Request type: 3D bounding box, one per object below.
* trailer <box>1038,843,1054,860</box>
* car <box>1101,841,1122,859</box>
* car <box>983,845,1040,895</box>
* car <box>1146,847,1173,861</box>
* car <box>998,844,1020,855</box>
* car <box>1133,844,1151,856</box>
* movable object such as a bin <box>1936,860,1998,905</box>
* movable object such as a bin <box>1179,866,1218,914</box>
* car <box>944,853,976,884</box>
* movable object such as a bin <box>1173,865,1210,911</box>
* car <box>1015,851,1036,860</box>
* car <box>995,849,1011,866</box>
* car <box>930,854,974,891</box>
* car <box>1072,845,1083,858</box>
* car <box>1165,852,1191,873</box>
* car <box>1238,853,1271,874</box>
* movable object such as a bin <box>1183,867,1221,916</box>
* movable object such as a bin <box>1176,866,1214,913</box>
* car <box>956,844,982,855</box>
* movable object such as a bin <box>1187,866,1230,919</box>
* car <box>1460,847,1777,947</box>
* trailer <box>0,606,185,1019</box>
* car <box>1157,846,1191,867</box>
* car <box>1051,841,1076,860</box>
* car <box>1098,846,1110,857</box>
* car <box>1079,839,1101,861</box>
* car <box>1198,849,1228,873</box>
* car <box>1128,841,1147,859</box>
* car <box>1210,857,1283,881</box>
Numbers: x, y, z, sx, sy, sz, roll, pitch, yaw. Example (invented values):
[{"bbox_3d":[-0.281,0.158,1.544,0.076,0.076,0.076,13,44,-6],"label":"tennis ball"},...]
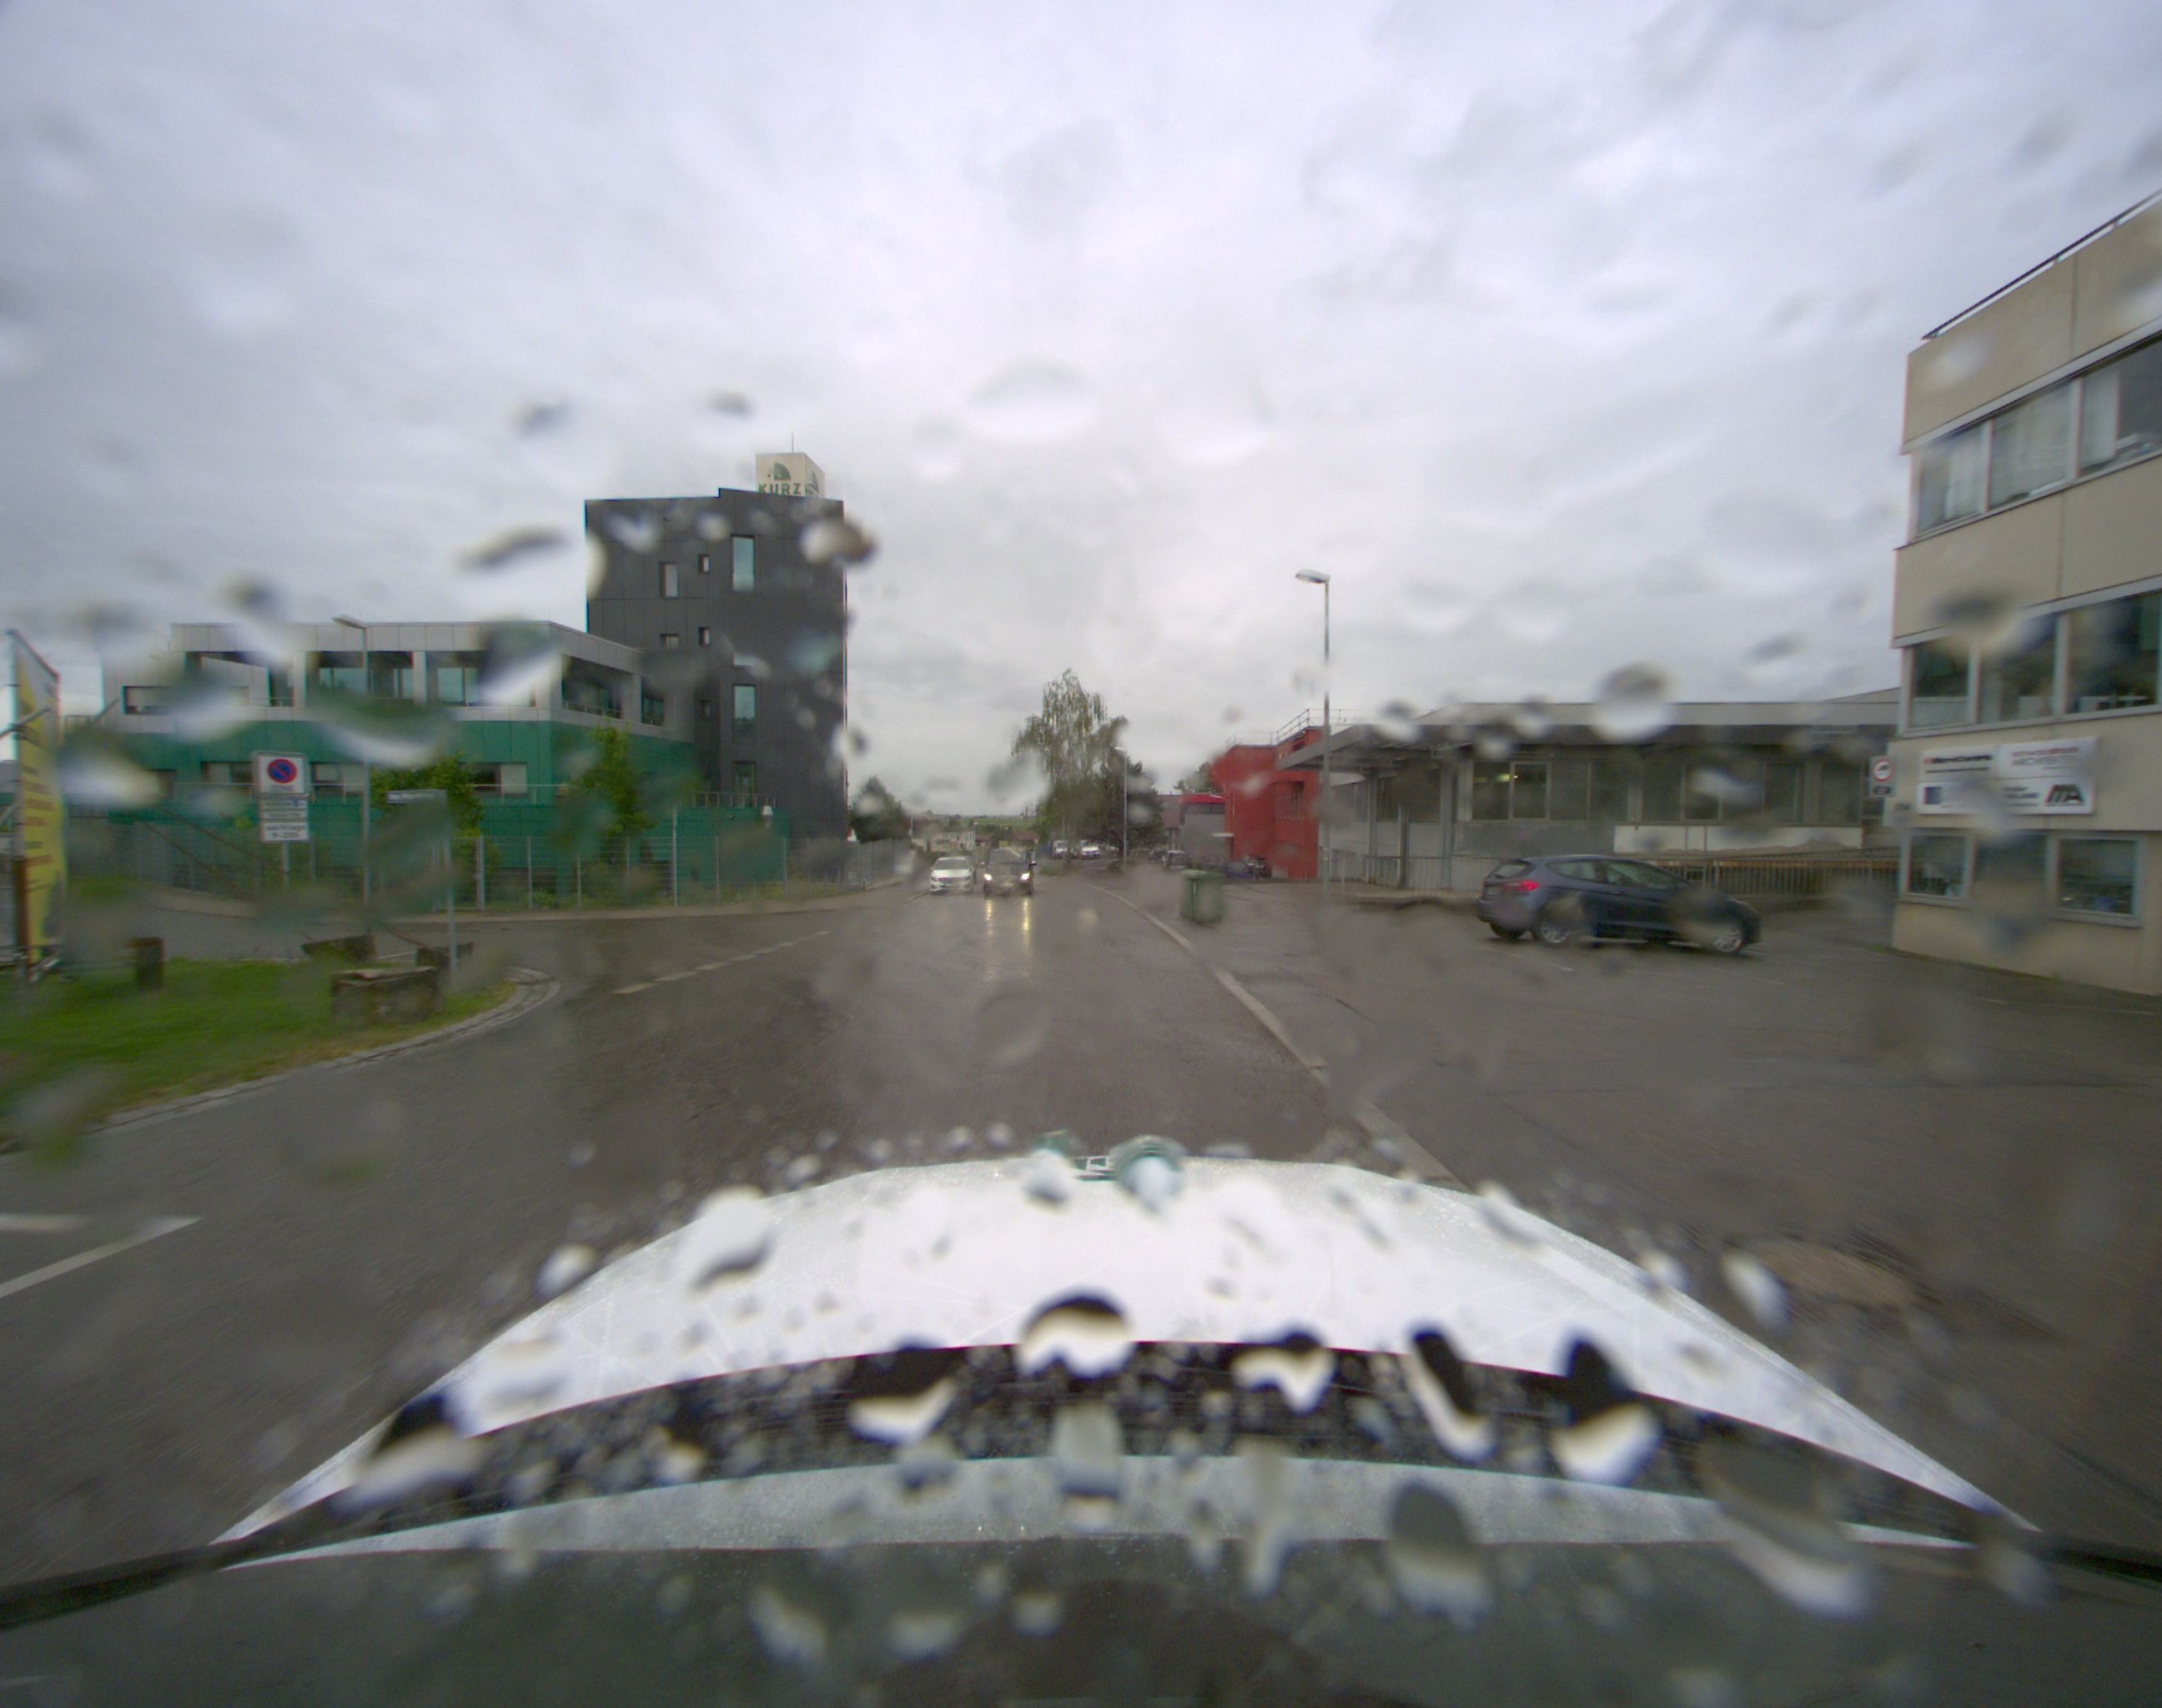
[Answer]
[{"bbox_3d":[-4.173,-0.308,97.385,1.849,2.013,3.995,0,0,-3],"label":"trailer"},{"bbox_3d":[3.540,-0.405,94.270,2.140,2.014,3.936,0,-1,-2],"label":"car"},{"bbox_3d":[-2.795,0.609,33.680,1.879,1.886,5.071,-1,0,0],"label":"car"},{"bbox_3d":[7.753,0.035,80.168,2.540,1.352,1.242,0,0,-1],"label":"car"},{"bbox_3d":[-15.387,-0.928,173.744,4.214,2.226,2.005,-1,-1,10],"label":"car"},{"bbox_3d":[7.502,-0.483,100.284,1.634,1.453,3.505,0,-1,-5],"label":"car"},{"bbox_3d":[25.124,0.794,23.109,0.989,1.263,0.684,0,0,6],"label":"movable object such as a bin"},{"bbox_3d":[2.735,0.834,18.957,0.806,1.090,0.541,-1,0,-1],"label":"movable object such as a bin"},{"bbox_3d":[-6.939,0.793,46.691,1.699,1.609,3.989,-2,0,-8],"label":"car"},{"bbox_3d":[2.722,0.833,20.124,0.799,1.079,0.624,-1,0,-1],"label":"movable object such as a bin"},{"bbox_3d":[-9.543,0.284,139.278,2.470,1.539,3.970,0,-1,-22],"label":"car"},{"bbox_3d":[-9.841,0.446,102.698,1.866,2.029,3.993,0,-1,-4],"label":"car"},{"bbox_3d":[-5.585,0.802,35.632,1.768,1.513,4.134,-1,-1,-7],"label":"car"},{"bbox_3d":[-0.398,-0.304,99.175,1.287,1.424,2.544,0,-1,-2],"label":"car"},{"bbox_3d":[6.888,0.627,58.032,1.689,1.475,4.004,0,-1,4],"label":"car"},{"bbox_3d":[12.233,0.674,57.515,1.721,1.422,4.004,0,-1,4],"label":"car"},{"bbox_3d":[2.725,0.834,18.382,0.773,1.076,0.583,-1,0,-1],"label":"movable object such as a bin"},{"bbox_3d":[2.729,0.841,19.518,0.806,1.076,0.581,-1,0,-1],"label":"movable object such as a bin"},{"bbox_3d":[-18.158,-0.715,132.146,3.969,1.882,2.002,0,0,4],"label":"car"},{"bbox_3d":[2.773,0.826,17.729,0.804,1.092,0.709,-1,0,-1],"label":"movable object such as a bin"},{"bbox_3d":[8.433,0.651,13.072,3.878,1.383,1.822,1,-1,3],"label":"car"},{"bbox_3d":[-12.366,-0.395,9.858,4.133,4.203,2.018,-1,-1,43],"label":"trailer"},{"bbox_3d":[7.430,0.221,65.506,2.061,1.552,3.994,0,-1,-4],"label":"car"},{"bbox_3d":[-2.006,-0.393,93.229,2.266,2.014,3.984,0,-1,-11],"label":"car"},{"bbox_3d":[2.811,-0.276,99.973,1.395,1.326,2.698,0,-1,-2],"label":"car"},{"bbox_3d":[1.017,-0.457,93.473,2.188,2.459,3.994,0,-1,-4],"label":"car"},{"bbox_3d":[9.447,0.533,58.546,1.731,1.653,4.004,0,-1,4],"label":"car"},{"bbox_3d":[6.502,-0.418,94.475,1.776,2.014,3.629,0,-1,-2],"label":"car"},{"bbox_3d":[8.082,0.709,40.064,3.383,1.163,1.795,0,0,6],"label":"car"}]
